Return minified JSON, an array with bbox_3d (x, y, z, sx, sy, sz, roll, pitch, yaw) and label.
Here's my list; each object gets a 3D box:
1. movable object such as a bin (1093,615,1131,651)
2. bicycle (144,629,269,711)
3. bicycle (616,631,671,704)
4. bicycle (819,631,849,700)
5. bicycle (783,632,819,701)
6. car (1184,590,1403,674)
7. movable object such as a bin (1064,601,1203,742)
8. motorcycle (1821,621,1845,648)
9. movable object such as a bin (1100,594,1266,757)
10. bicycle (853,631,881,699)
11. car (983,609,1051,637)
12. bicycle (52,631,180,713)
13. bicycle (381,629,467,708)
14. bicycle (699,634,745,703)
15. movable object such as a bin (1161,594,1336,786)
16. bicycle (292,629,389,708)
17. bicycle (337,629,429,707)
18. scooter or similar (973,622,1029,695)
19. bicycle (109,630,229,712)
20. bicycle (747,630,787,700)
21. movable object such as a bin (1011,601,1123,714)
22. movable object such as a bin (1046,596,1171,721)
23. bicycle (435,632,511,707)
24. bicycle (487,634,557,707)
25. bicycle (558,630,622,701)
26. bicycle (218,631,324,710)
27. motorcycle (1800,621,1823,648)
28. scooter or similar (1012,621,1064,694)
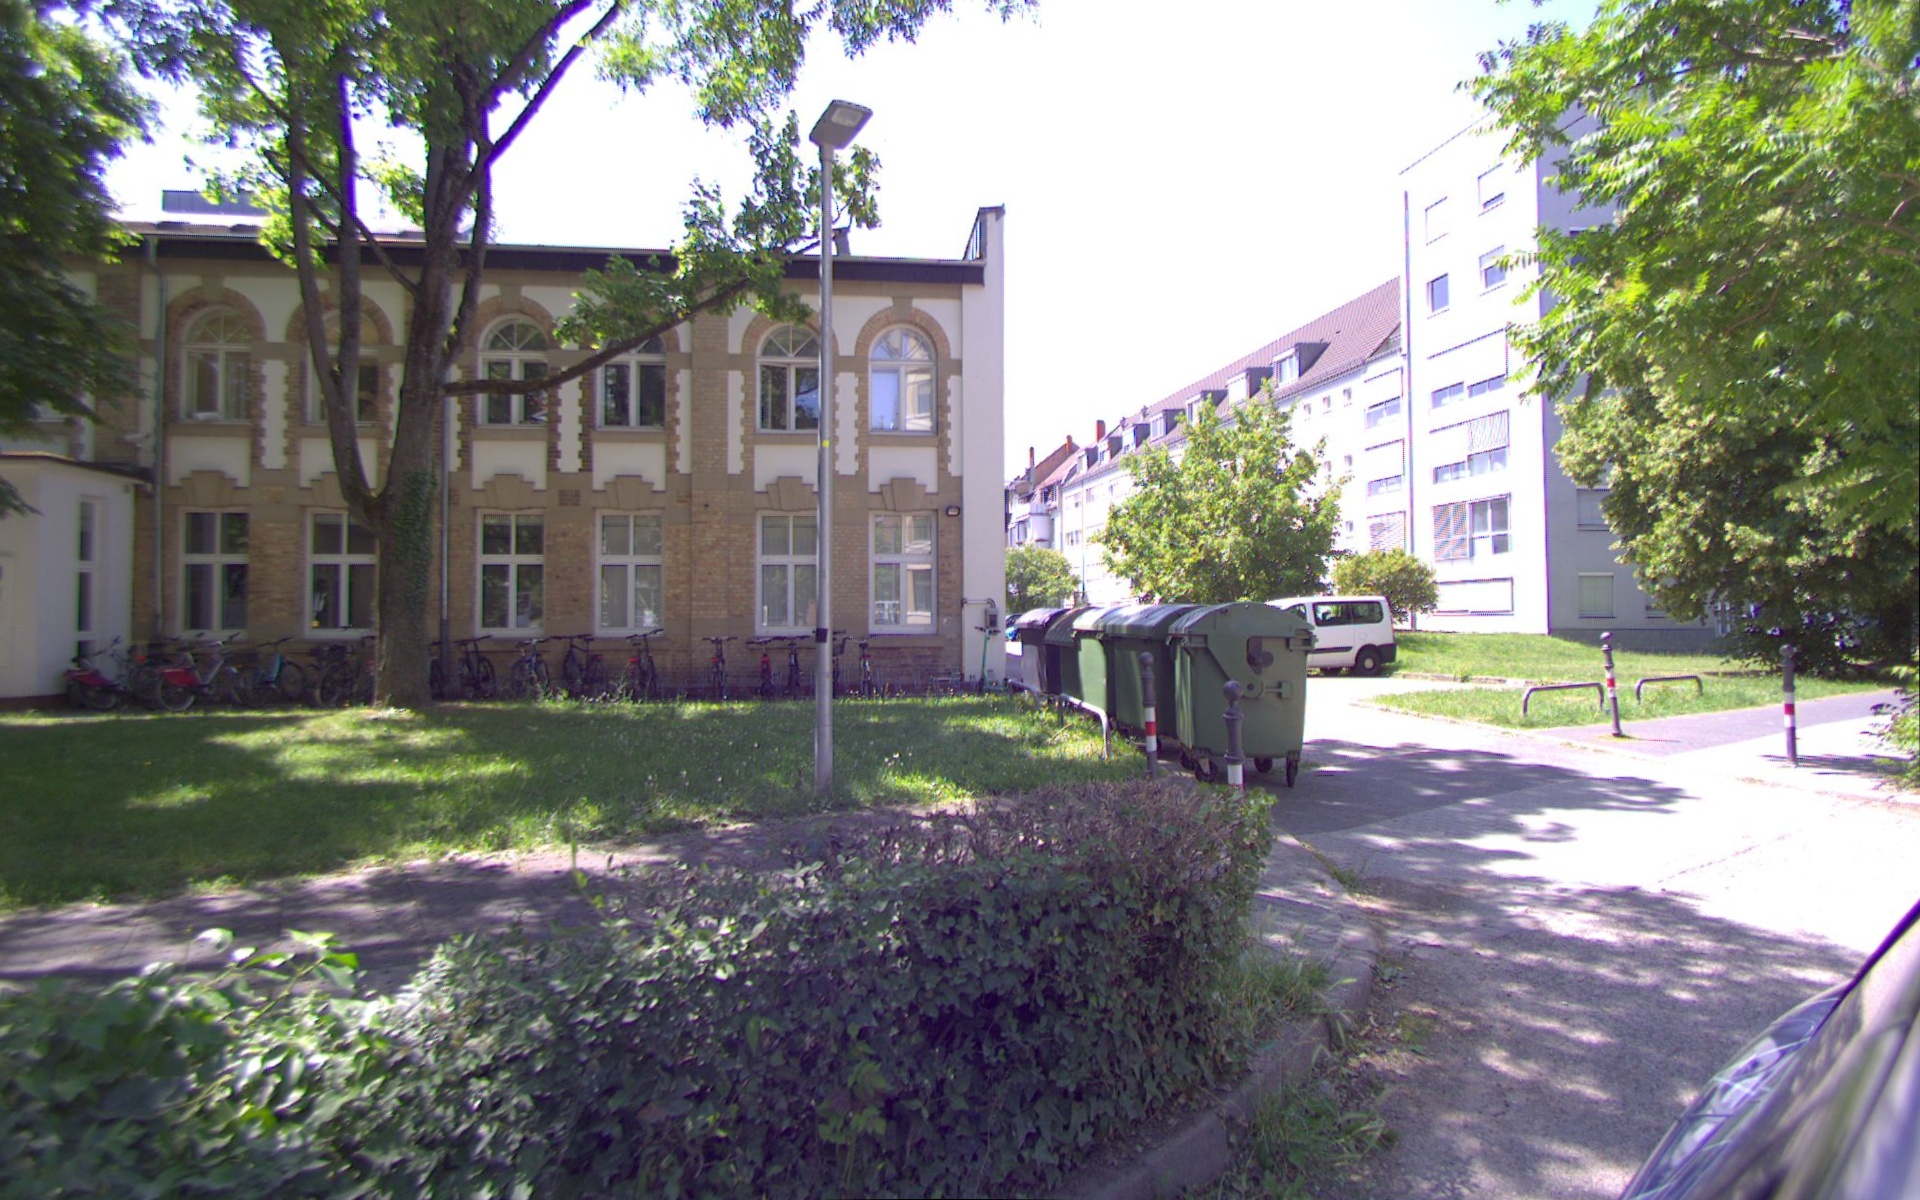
[{"bbox_3d":[5.995,1.298,39.940,1.233,1.345,1.105,-1,-2,-6],"label":"movable object such as a bin"},{"bbox_3d":[-11.558,1.043,15.603,0.578,1.157,1.842,-1,-1,-1],"label":"bicycle"},{"bbox_3d":[-5.211,1.083,16.731,0.512,1.118,1.836,0,-2,-6],"label":"bicycle"},{"bbox_3d":[-2.124,1.075,17.143,0.446,1.082,1.837,0,-1,-6],"label":"bicycle"},{"bbox_3d":[-2.667,1.084,17.048,0.494,1.082,1.837,0,-1,-6],"label":"bicycle"},{"bbox_3d":[8.127,0.790,24.860,4.704,1.936,2.003,0,-2,-11],"label":"car"},{"bbox_3d":[1.937,0.766,11.536,1.158,1.488,1.314,-1,0,-10],"label":"movable object such as a bin"},{"bbox_3d":[40.598,1.600,47.044,0.698,1.183,2.274,-2,-2,44],"label":"motorcycle"},{"bbox_3d":[2.182,0.695,10.112,1.158,1.488,1.314,-1,0,-12],"label":"movable object such as a bin"},{"bbox_3d":[-1.589,1.073,17.225,0.446,1.082,1.837,0,-1,-6],"label":"bicycle"},{"bbox_3d":[3.919,1.596,70.538,4.360,1.855,2.003,-1,-1,-9],"label":"car"},{"bbox_3d":[-12.994,1.072,15.657,0.578,1.157,1.843,0,-1,-6],"label":"bicycle"},{"bbox_3d":[-8.625,1.070,16.362,0.578,1.157,1.843,0,-1,-6],"label":"bicycle"},{"bbox_3d":[-3.954,1.109,16.896,0.494,1.082,1.836,0,-2,-6],"label":"bicycle"},{"bbox_3d":[2.384,0.707,8.583,1.162,1.488,1.331,-1,0,5],"label":"movable object such as a bin"},{"bbox_3d":[-9.877,1.062,16.207,0.578,1.157,1.843,0,-1,-6],"label":"bicycle"},{"bbox_3d":[-9.246,1.062,16.290,0.578,1.157,1.843,0,-1,-6],"label":"bicycle"},{"bbox_3d":[0.686,0.984,17.379,0.455,1.189,1.258,0,-1,-24],"label":"scooter or similar"},{"bbox_3d":[-12.269,1.068,15.774,0.578,1.157,1.843,0,-1,-6],"label":"bicycle"},{"bbox_3d":[-3.225,1.063,17.032,0.494,1.082,1.837,0,-1,-6],"label":"bicycle"},{"bbox_3d":[1.516,0.786,14.632,1.134,1.524,1.465,-1,0,-15],"label":"movable object such as a bin"},{"bbox_3d":[1.869,0.704,12.924,1.158,1.488,1.314,-1,0,-13],"label":"movable object such as a bin"},{"bbox_3d":[-7.858,1.092,16.396,0.512,1.114,1.843,0,-1,-6],"label":"bicycle"},{"bbox_3d":[-7.107,1.111,16.503,0.512,1.084,1.837,0,-1,-6],"label":"bicycle"},{"bbox_3d":[-6.202,1.071,16.908,0.464,1.118,1.833,1,-3,-38],"label":"bicycle"},{"bbox_3d":[-10.904,1.080,16.090,0.578,1.157,1.843,0,-1,-6],"label":"bicycle"},{"bbox_3d":[40.047,1.604,47.584,0.698,1.183,2.267,-2,-2,44],"label":"motorcycle"},{"bbox_3d":[1.316,0.957,17.293,0.455,1.189,1.359,0,-1,-15],"label":"scooter or similar"}]
